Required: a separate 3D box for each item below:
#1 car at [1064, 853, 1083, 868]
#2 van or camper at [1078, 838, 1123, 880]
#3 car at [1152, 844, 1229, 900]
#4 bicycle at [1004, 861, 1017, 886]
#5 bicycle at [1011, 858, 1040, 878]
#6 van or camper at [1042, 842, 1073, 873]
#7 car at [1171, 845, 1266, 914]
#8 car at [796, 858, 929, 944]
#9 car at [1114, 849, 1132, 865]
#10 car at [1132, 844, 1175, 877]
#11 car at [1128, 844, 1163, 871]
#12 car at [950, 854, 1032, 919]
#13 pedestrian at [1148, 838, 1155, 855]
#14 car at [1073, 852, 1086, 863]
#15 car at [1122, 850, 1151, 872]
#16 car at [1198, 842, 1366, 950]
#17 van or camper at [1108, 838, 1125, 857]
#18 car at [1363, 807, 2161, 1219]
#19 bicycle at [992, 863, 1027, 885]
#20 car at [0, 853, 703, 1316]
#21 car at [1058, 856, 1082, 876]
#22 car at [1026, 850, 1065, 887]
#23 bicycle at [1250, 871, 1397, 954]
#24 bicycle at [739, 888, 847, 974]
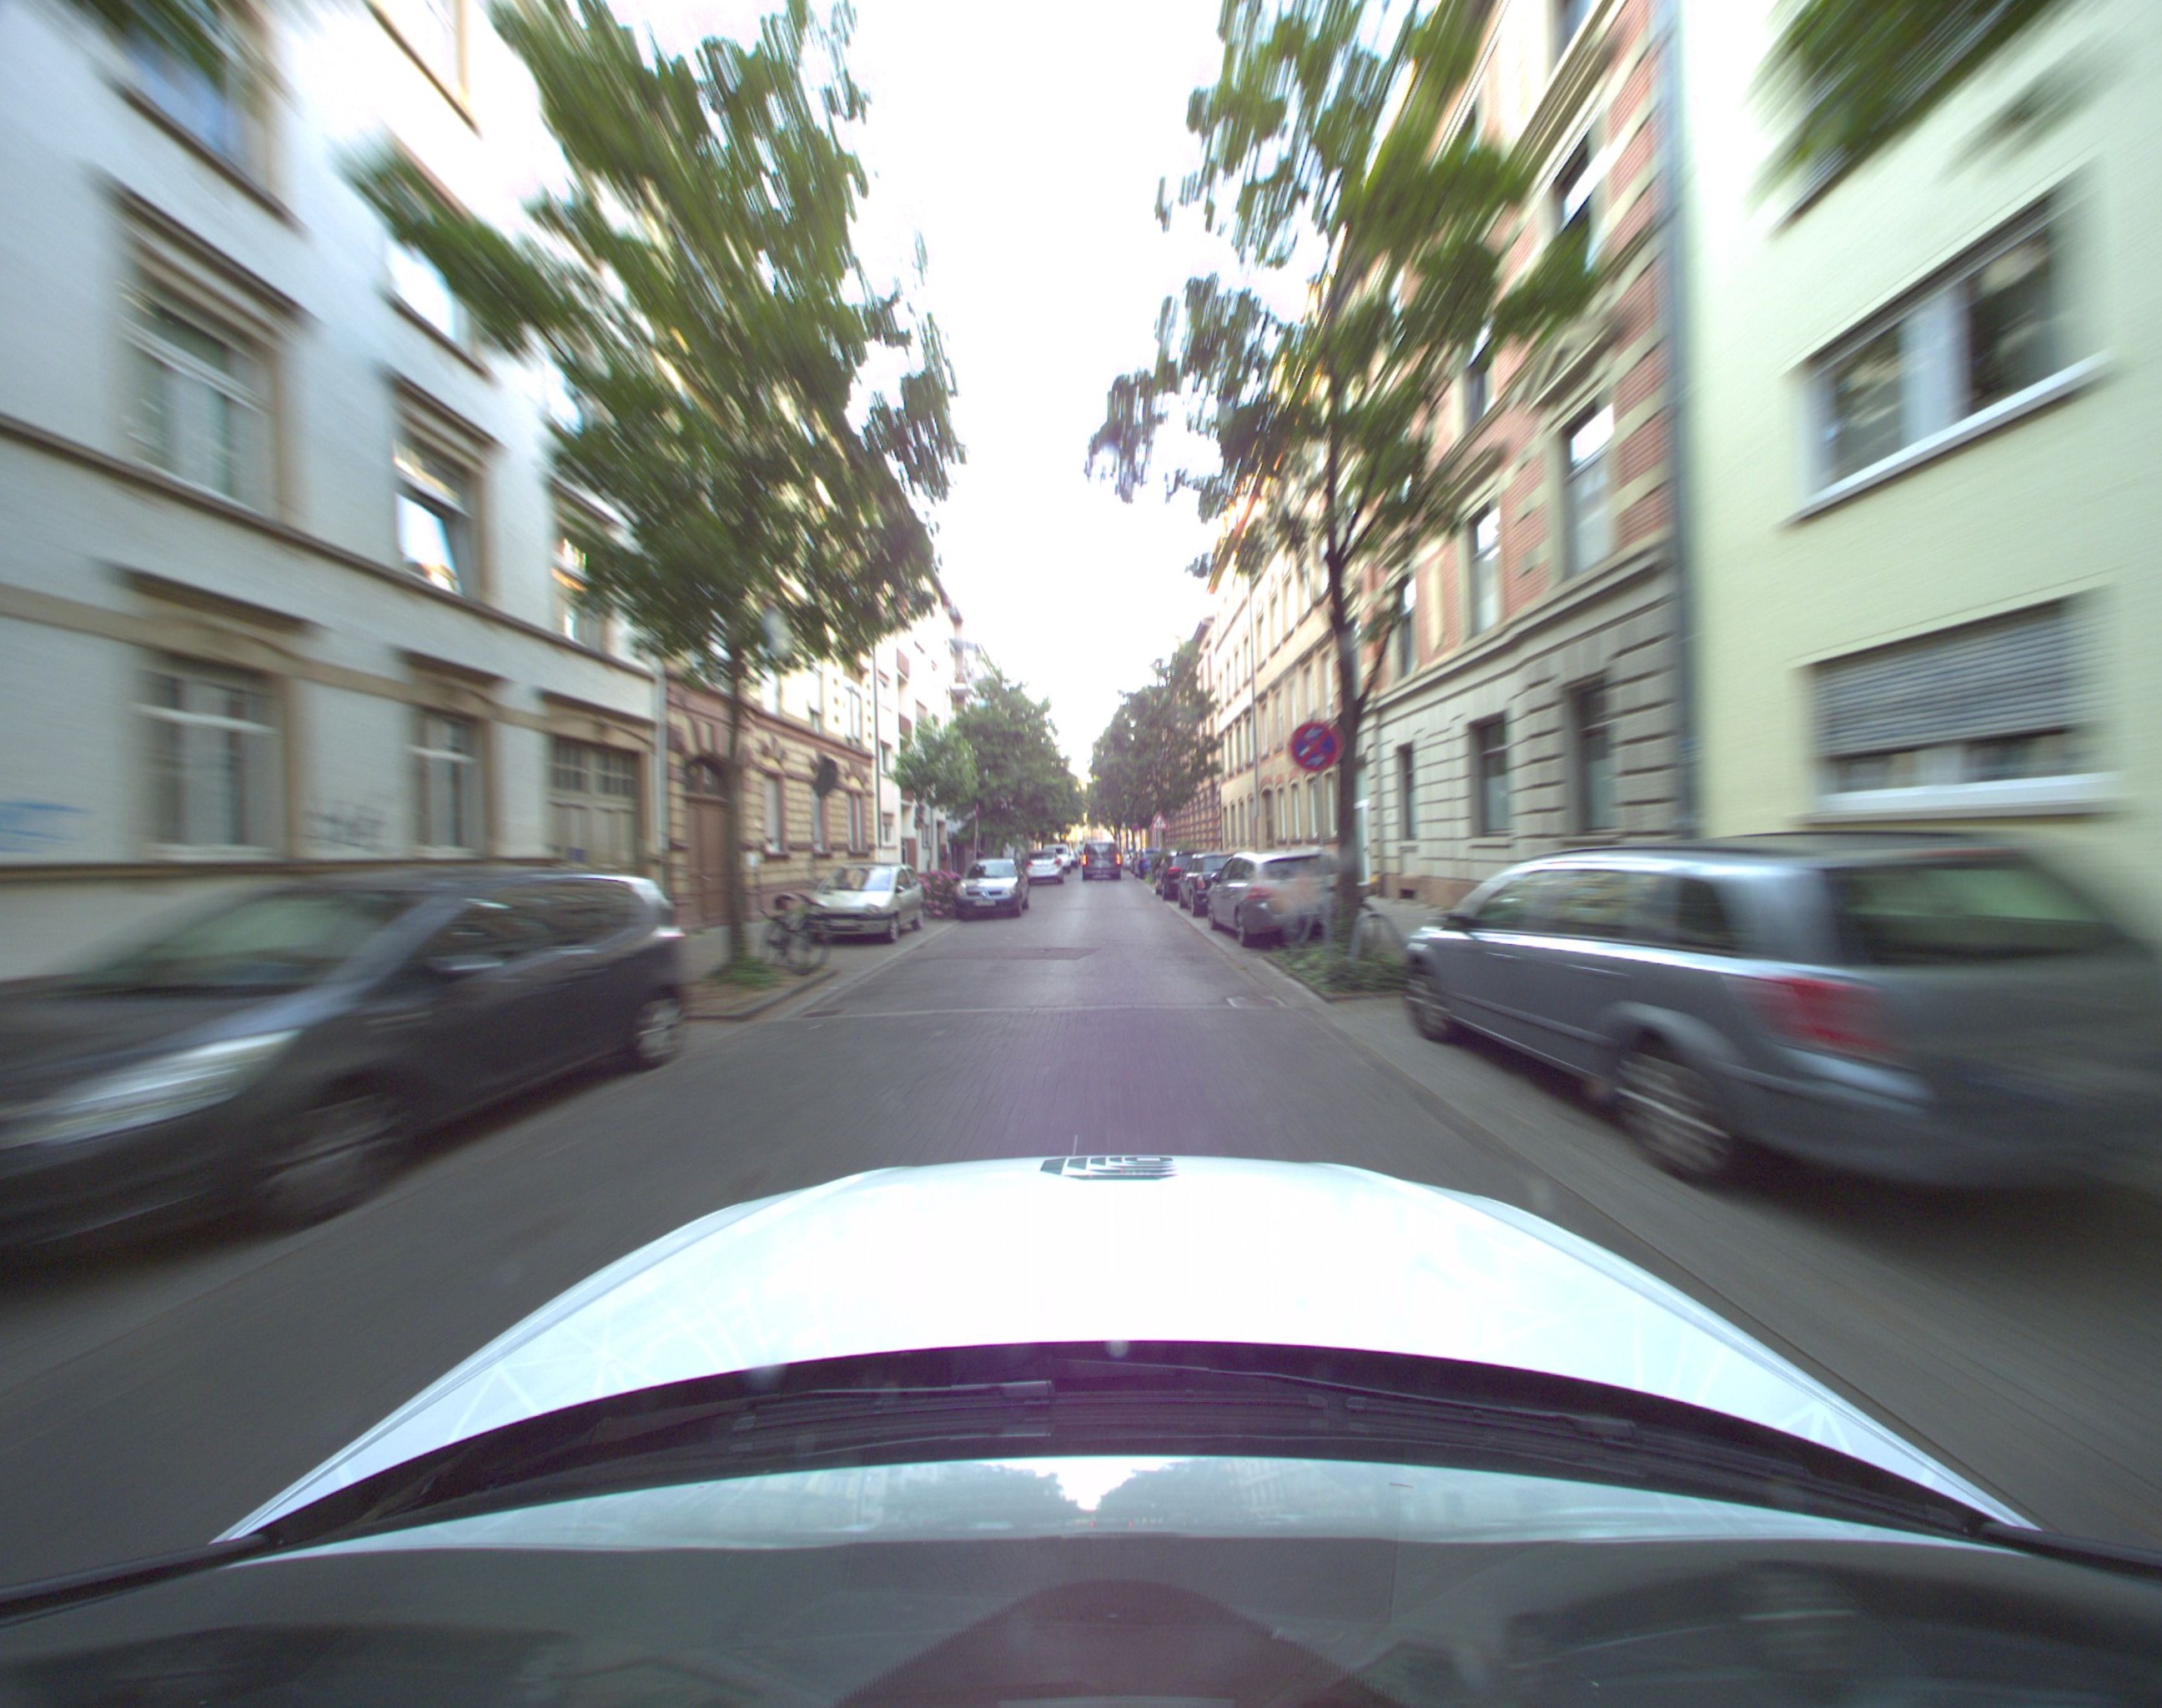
[{"bbox_3d":[-0.770,0.634,85.892,1.840,1.451,4.504,-2,0,1],"label":"car"},{"bbox_3d":[1.021,0.232,40.569,2.027,1.897,4.274,-2,0,3],"label":"van or camper"},{"bbox_3d":[3.216,0.491,24.765,1.760,1.415,4.475,-4,0,1],"label":"car"},{"bbox_3d":[-3.332,0.917,38.641,0.418,1.103,1.665,-1,0,0],"label":"bicycle"},{"bbox_3d":[-3.595,0.884,52.489,0.690,1.163,1.834,-3,0,43],"label":"bicycle"},{"bbox_3d":[-1.515,0.224,53.482,1.871,1.843,4.751,-3,0,-1],"label":"van or camper"},{"bbox_3d":[3.234,0.550,19.727,1.630,1.424,3.564,-3,0,0],"label":"car"},{"bbox_3d":[-4.139,0.832,15.981,1.582,1.437,3.566,-1,0,1],"label":"car"},{"bbox_3d":[4.544,0.313,88.245,1.607,1.559,3.765,-3,0,-1],"label":"car"},{"bbox_3d":[3.518,0.317,40.309,1.623,1.466,4.244,-3,0,-1],"label":"car"},{"bbox_3d":[3.714,0.180,47.285,1.706,1.477,4.192,-2,0,0],"label":"car"},{"bbox_3d":[-2.220,0.761,20.953,1.575,1.420,3.753,-3,0,1],"label":"car"},{"bbox_3d":[7.199,-0.750,82.718,0.625,1.648,0.532,-2,0,1],"label":"pedestrian"},{"bbox_3d":[-0.237,0.509,120.273,1.735,1.404,3.375,-3,0,1],"label":"car"},{"bbox_3d":[3.869,0.435,57.086,1.688,1.401,4.646,-3,0,0],"label":"car"},{"bbox_3d":[3.255,0.604,14.117,1.712,1.476,4.366,-4,0,-1],"label":"car"},{"bbox_3d":[5.059,-0.943,116.349,1.987,2.599,5.423,-2,0,0],"label":"van or camper"},{"bbox_3d":[3.438,0.574,5.200,1.753,1.463,4.308,-3,0,0],"label":"car"},{"bbox_3d":[-3.542,0.997,40.241,1.708,0.994,0.580,-2,0,34],"label":"bicycle"},{"bbox_3d":[-4.147,0.820,4.916,1.700,1.580,4.080,-1,1,2],"label":"car"},{"bbox_3d":[-0.881,0.973,68.073,1.824,1.517,4.516,-2,0,0],"label":"car"},{"bbox_3d":[-1.643,0.645,38.218,1.659,1.563,3.997,-3,0,-2],"label":"car"},{"bbox_3d":[3.347,0.778,11.216,1.922,0.982,0.634,-2,0,-21],"label":"bicycle"},{"bbox_3d":[-4.069,1.033,11.421,1.805,1.085,0.672,-2,-1,44],"label":"bicycle"}]
